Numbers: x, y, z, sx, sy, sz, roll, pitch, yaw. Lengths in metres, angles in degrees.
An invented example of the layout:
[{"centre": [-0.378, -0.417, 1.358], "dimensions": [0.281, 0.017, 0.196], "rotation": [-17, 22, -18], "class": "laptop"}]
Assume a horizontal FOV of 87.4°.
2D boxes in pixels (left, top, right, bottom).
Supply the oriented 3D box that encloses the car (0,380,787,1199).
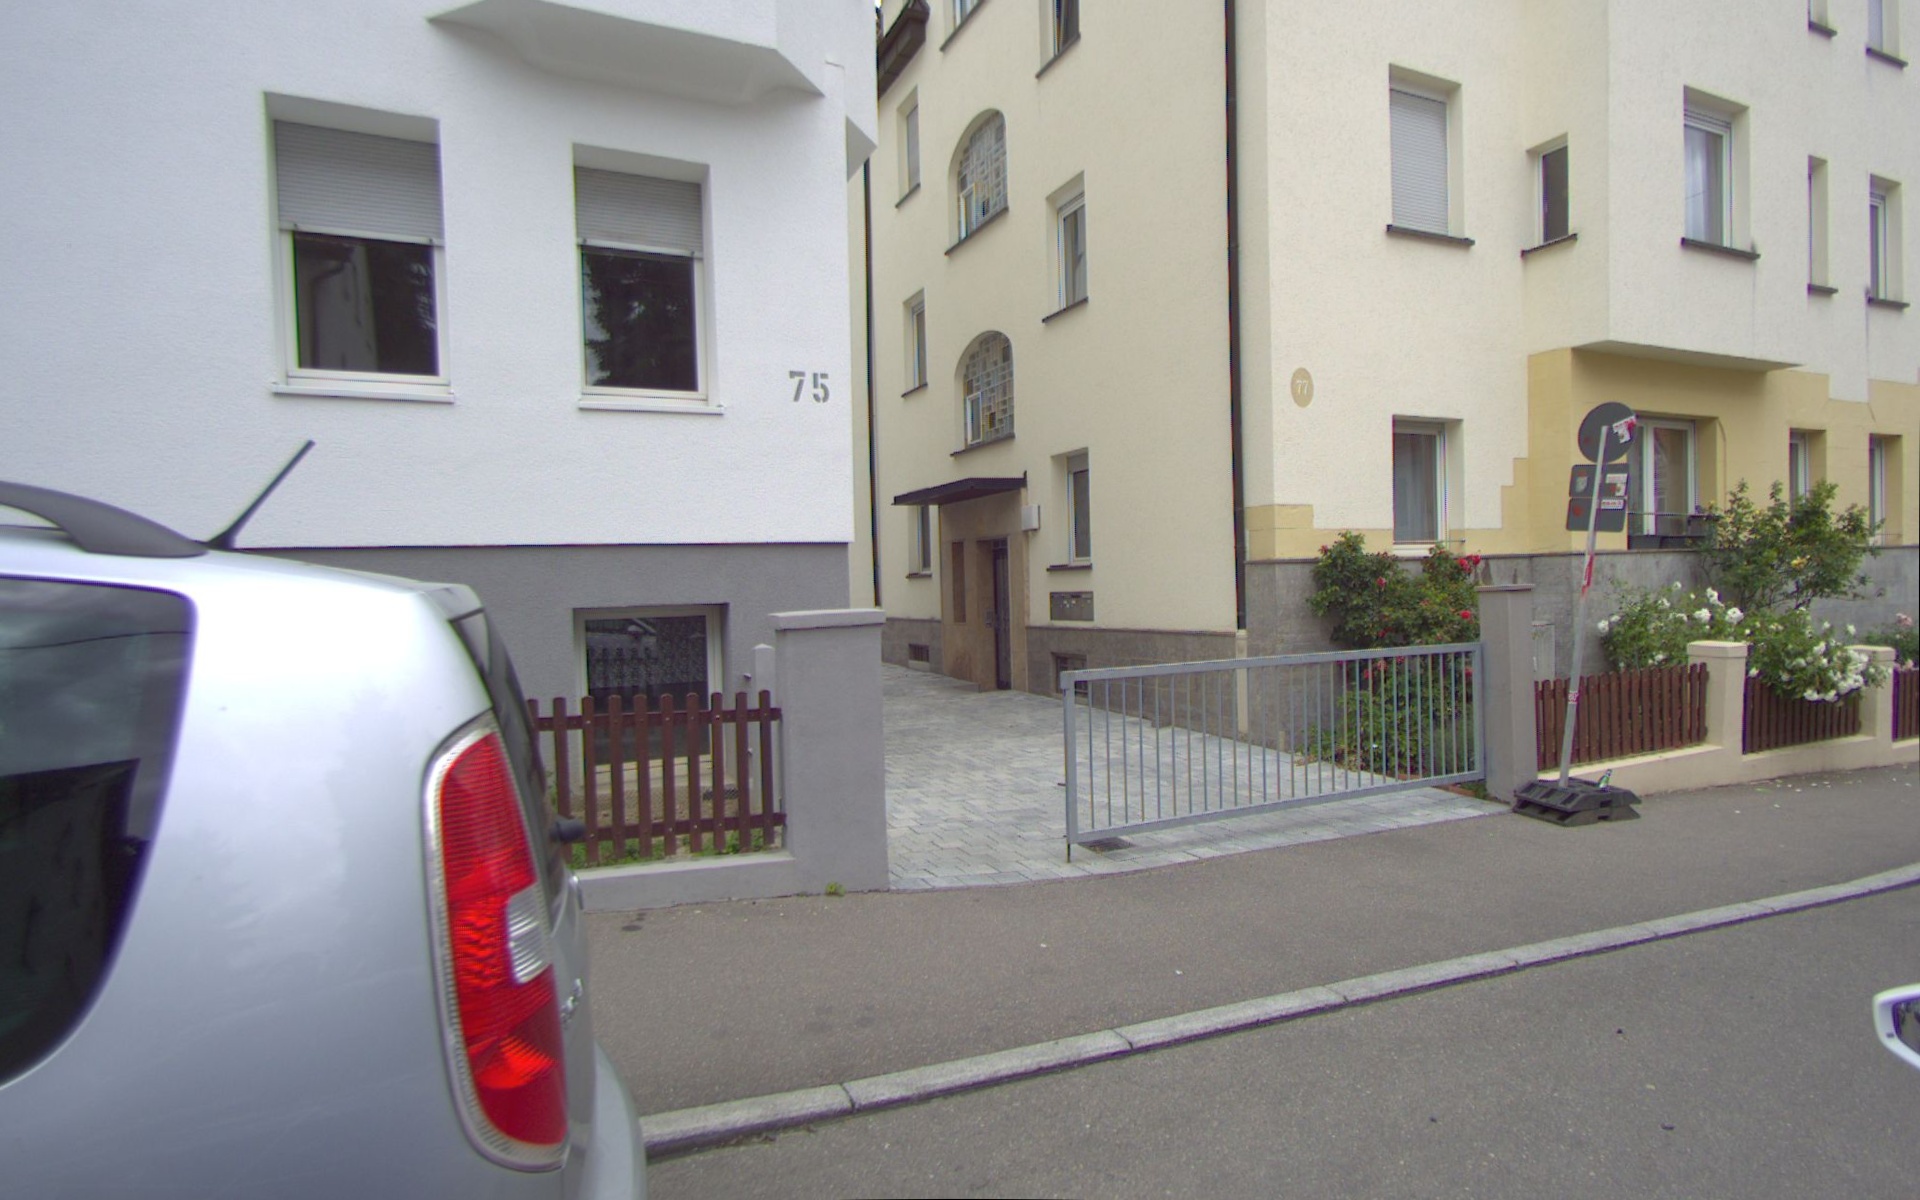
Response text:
[{"centre": [-2.494, 0.636, 1.045], "dimensions": [4.232, 1.653, 1.838], "rotation": [0, 0, -28], "class": "car"}]
